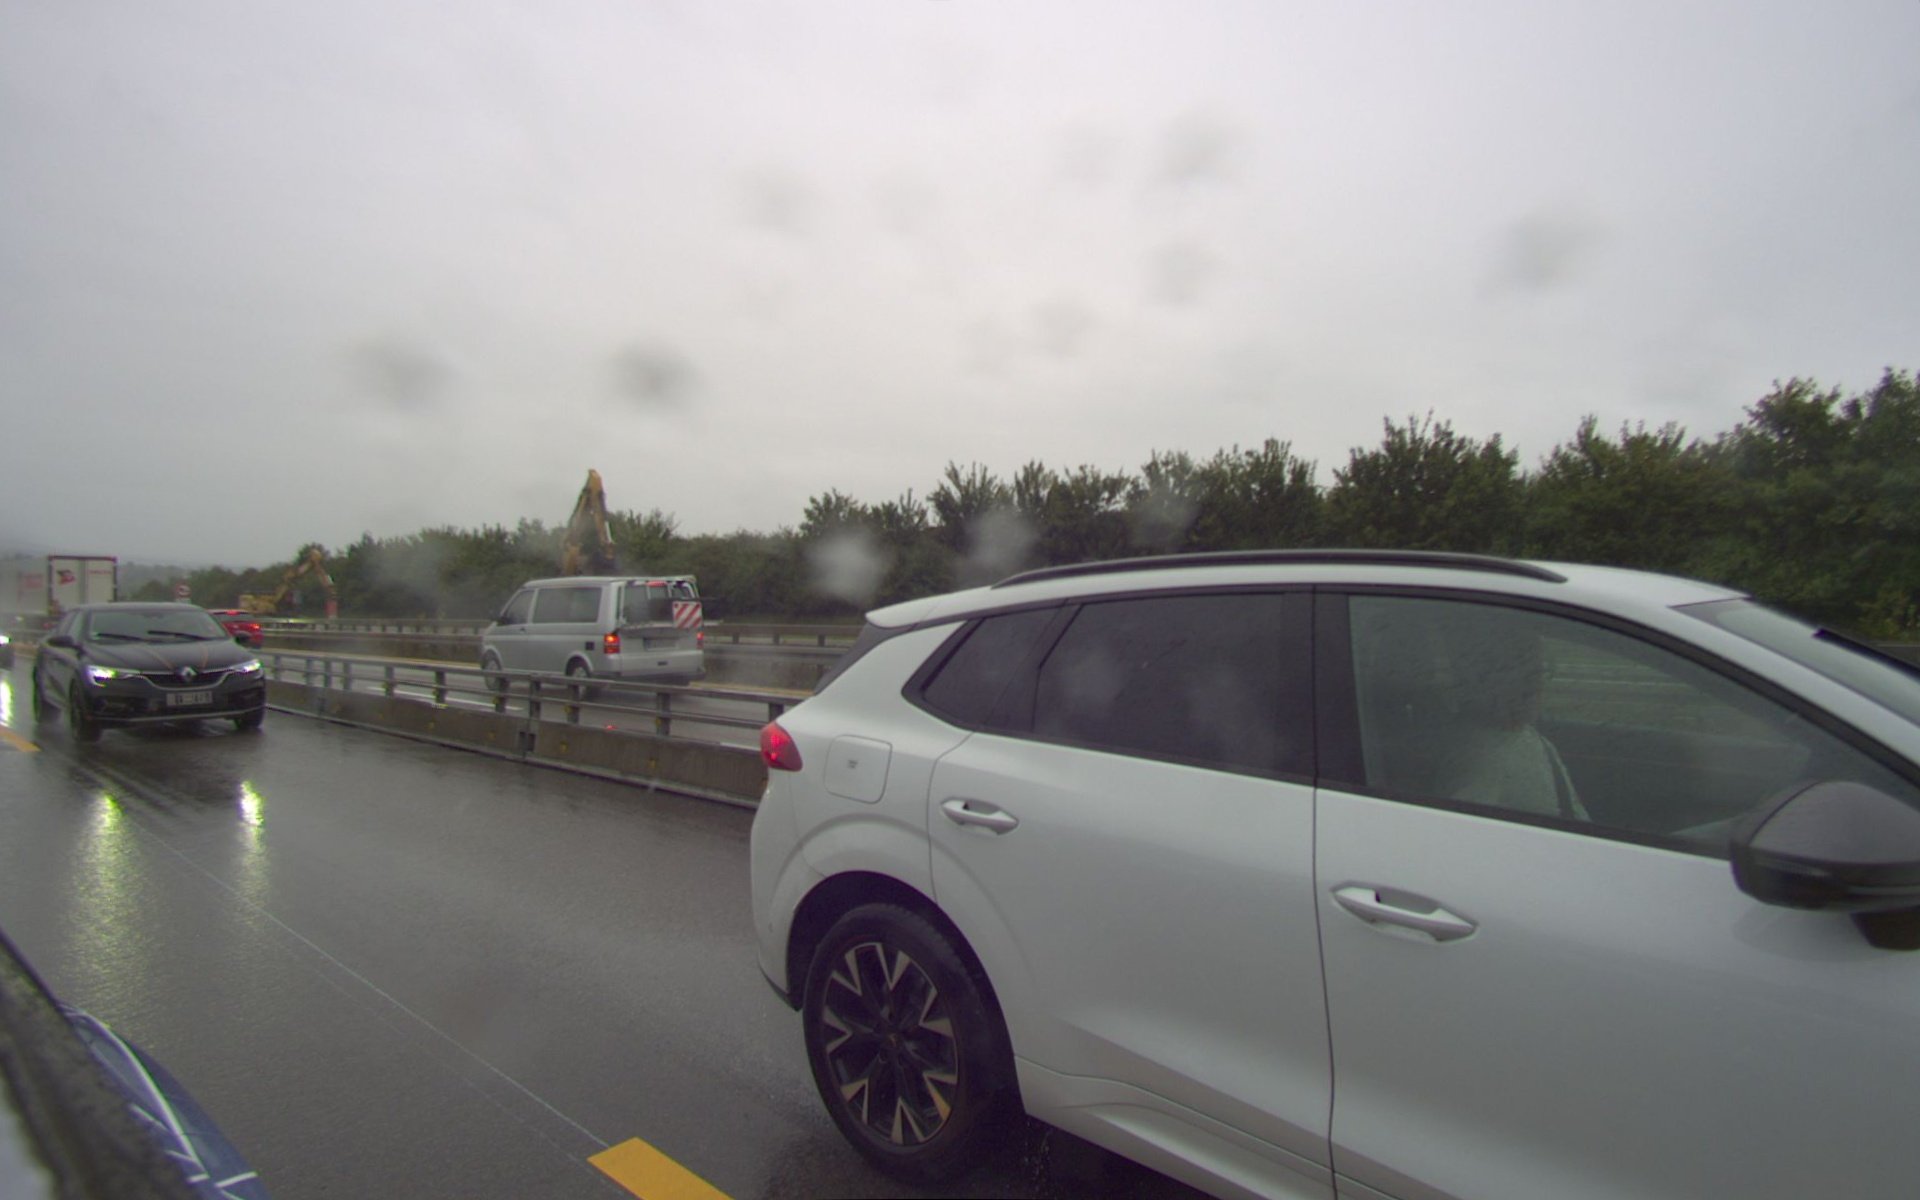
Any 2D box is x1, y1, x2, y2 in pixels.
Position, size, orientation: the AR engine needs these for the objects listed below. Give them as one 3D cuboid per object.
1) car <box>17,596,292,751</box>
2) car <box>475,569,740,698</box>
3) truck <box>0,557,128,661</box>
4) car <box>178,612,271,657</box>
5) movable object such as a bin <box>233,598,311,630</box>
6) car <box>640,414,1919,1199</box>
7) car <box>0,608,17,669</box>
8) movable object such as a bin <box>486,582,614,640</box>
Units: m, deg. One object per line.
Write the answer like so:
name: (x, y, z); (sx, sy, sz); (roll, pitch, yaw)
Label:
car: (-10.205, 0.776, 12.698); (4.412, 1.597, 1.972); (-1, 0, 42)
car: (-5.925, 0.486, 16.648); (5.053, 1.820, 1.872); (-1, 0, 41)
truck: (-48.132, 0.469, 53.783); (15.974, 4.873, 3.241); (-1, 0, 40)
car: (-25.135, 1.139, 34.543); (3.830, 1.439, 1.683); (-1, 0, 40)
movable object such as a bin: (-53.313, 1.071, 78.416); (5.089, 2.312, 3.408); (-1, 0, 35)
car: (1.392, 0.585, 2.375); (4.796, 1.629, 1.972); (-1, 0, 43)
car: (-26.185, 0.988, 26.323); (4.629, 1.509, 1.973); (-1, 0, 41)
movable object such as a bin: (-21.230, 0.544, 52.291); (6.328, 2.819, 3.725); (-1, 0, 42)
